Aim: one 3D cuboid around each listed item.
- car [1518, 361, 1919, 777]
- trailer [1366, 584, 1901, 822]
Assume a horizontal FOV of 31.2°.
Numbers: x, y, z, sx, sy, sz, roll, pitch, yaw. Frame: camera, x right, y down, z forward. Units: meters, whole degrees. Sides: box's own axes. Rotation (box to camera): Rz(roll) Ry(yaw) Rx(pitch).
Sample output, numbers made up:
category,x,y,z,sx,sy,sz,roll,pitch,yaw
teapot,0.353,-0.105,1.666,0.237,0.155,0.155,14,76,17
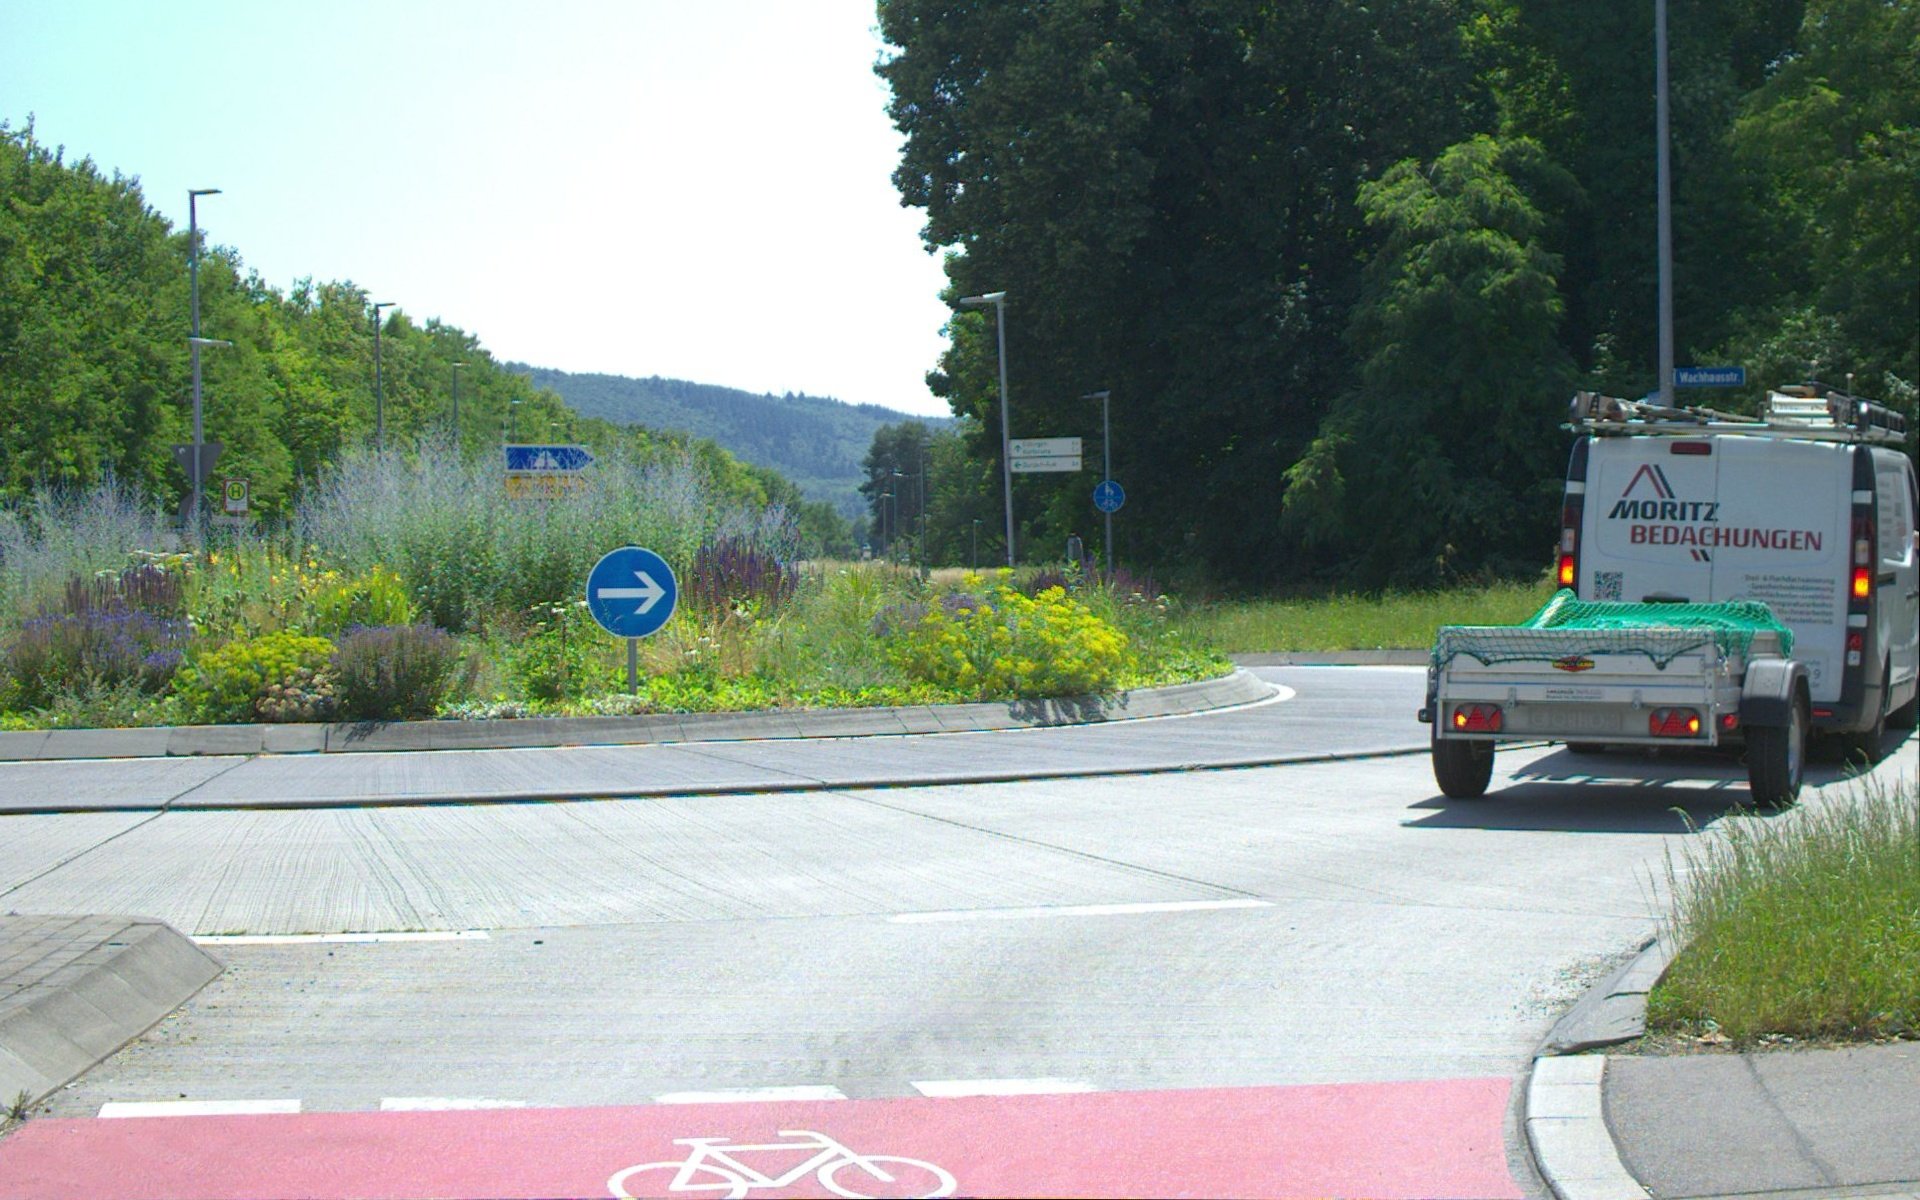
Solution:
category,x,y,z,sx,sy,sz,roll,pitch,yaw
car,5.127,-0.189,21.763,2.168,2.308,4.976,0,0,21
trailer,3.595,0.470,17.892,2.124,1.093,3.351,0,0,22
